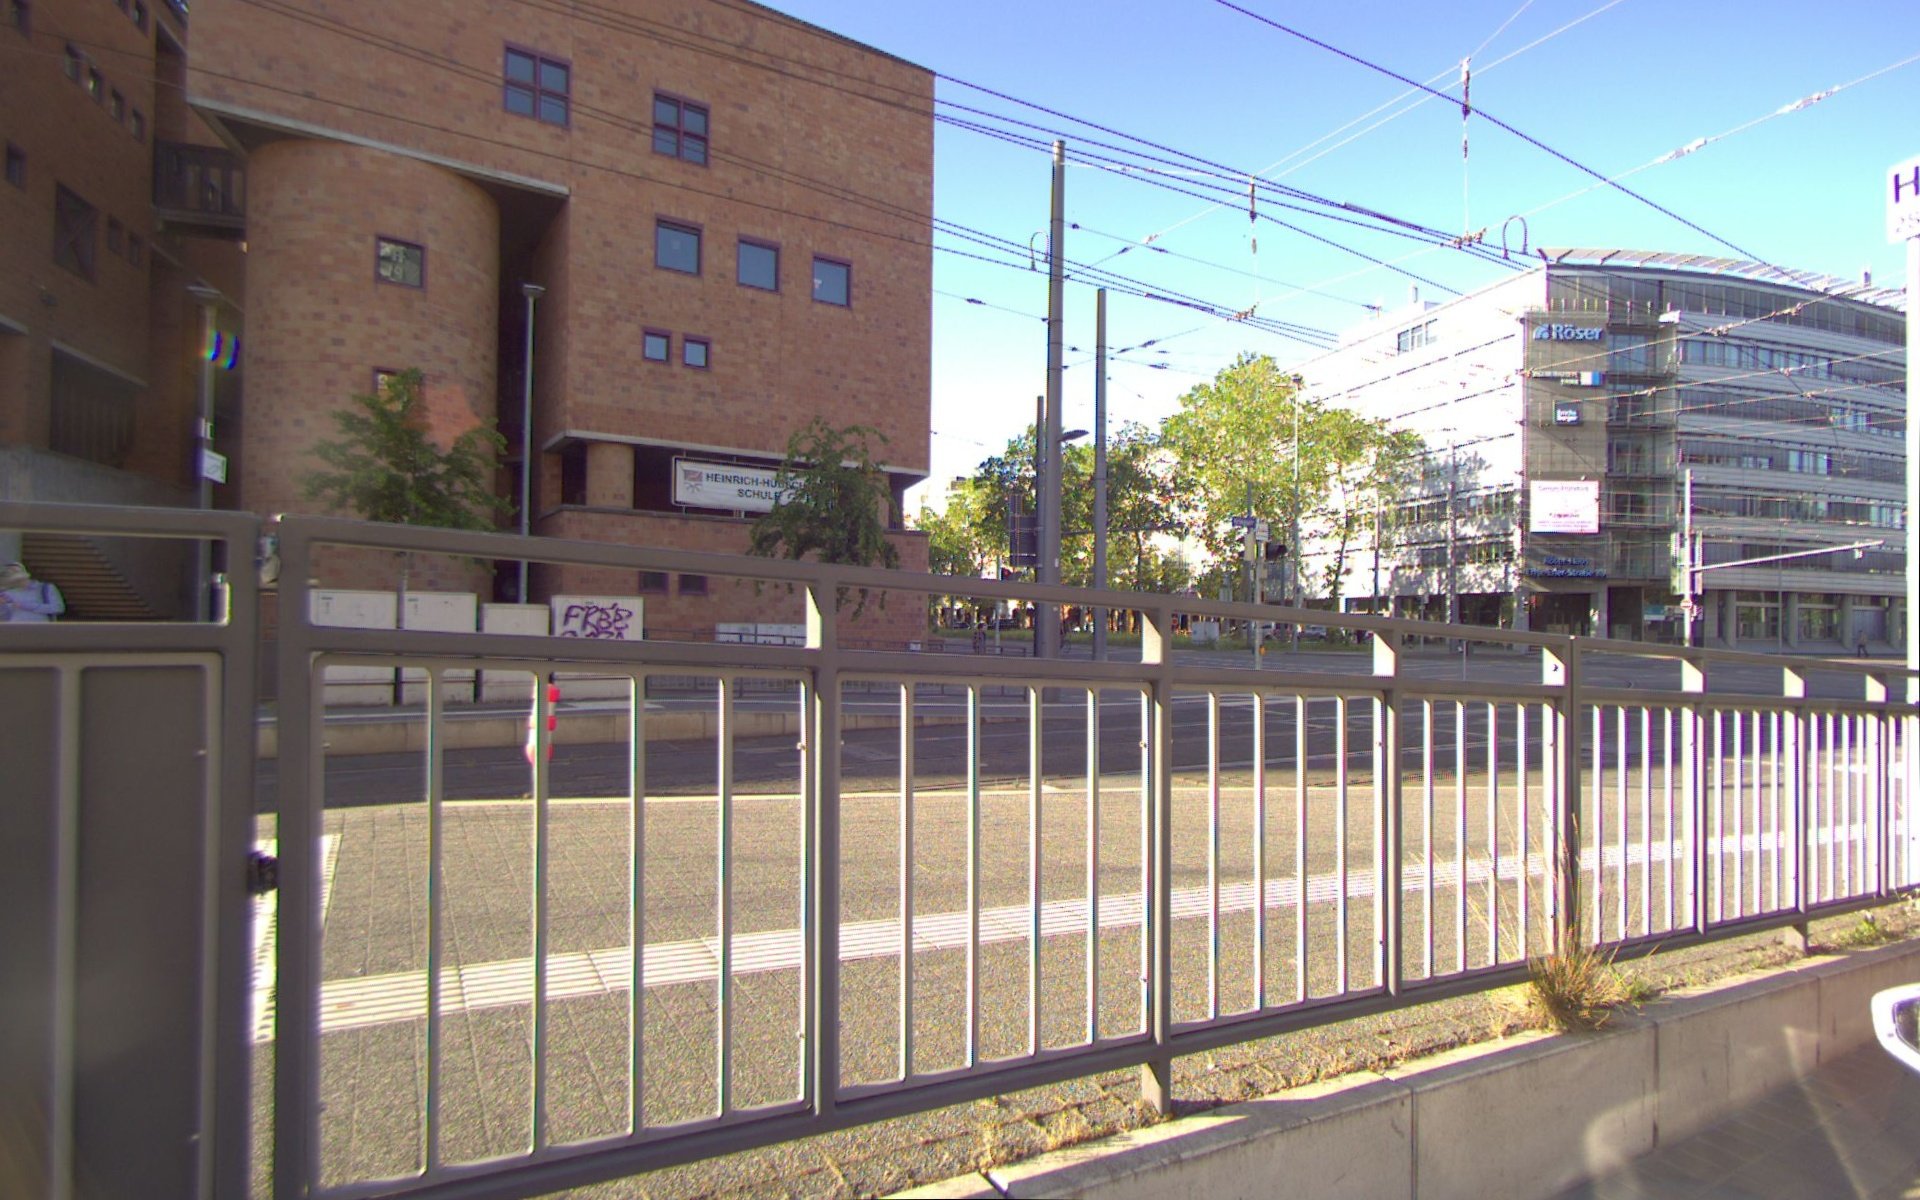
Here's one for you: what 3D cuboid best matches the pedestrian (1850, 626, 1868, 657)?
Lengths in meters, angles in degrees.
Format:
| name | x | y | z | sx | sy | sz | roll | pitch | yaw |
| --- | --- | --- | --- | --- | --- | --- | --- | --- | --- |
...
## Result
| name | x | y | z | sx | sy | sz | roll | pitch | yaw |
| --- | --- | --- | --- | --- | --- | --- | --- | --- | --- |
| pedestrian | 61.629 | 2.833 | 68.858 | 0.745 | 2.040 | 0.627 | 2 | 0 | -30 |

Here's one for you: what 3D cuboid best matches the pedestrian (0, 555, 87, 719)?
| name | x | y | z | sx | sy | sz | roll | pitch | yaw |
| --- | --- | --- | --- | --- | --- | --- | --- | --- | --- |
| pedestrian | -9.701 | 0.374 | 10.555 | 0.679 | 1.656 | 0.662 | 2 | 0 | -34 |

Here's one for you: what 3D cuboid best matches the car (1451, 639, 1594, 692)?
| name | x | y | z | sx | sy | sz | roll | pitch | yaw |
| --- | --- | --- | --- | --- | --- | --- | --- | --- | --- |
| car | 13.621 | 1.555 | 24.378 | 2.841 | 1.077 | 1.238 | 2 | 0 | 40 |

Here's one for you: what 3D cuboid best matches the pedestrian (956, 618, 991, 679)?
| name | x | y | z | sx | sy | sz | roll | pitch | yaw |
| --- | --- | --- | --- | --- | --- | --- | --- | --- | --- |
| pedestrian | 0.393 | 1.395 | 28.971 | 0.785 | 1.714 | 0.587 | 2 | 0 | -29 |

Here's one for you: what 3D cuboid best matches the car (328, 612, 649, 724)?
| name | x | y | z | sx | sy | sz | roll | pitch | yaw |
| --- | --- | --- | --- | --- | --- | --- | --- | --- | --- |
| car | -7.128 | 0.983 | 15.340 | 4.198 | 1.449 | 1.813 | 2 | 0 | -34 |
